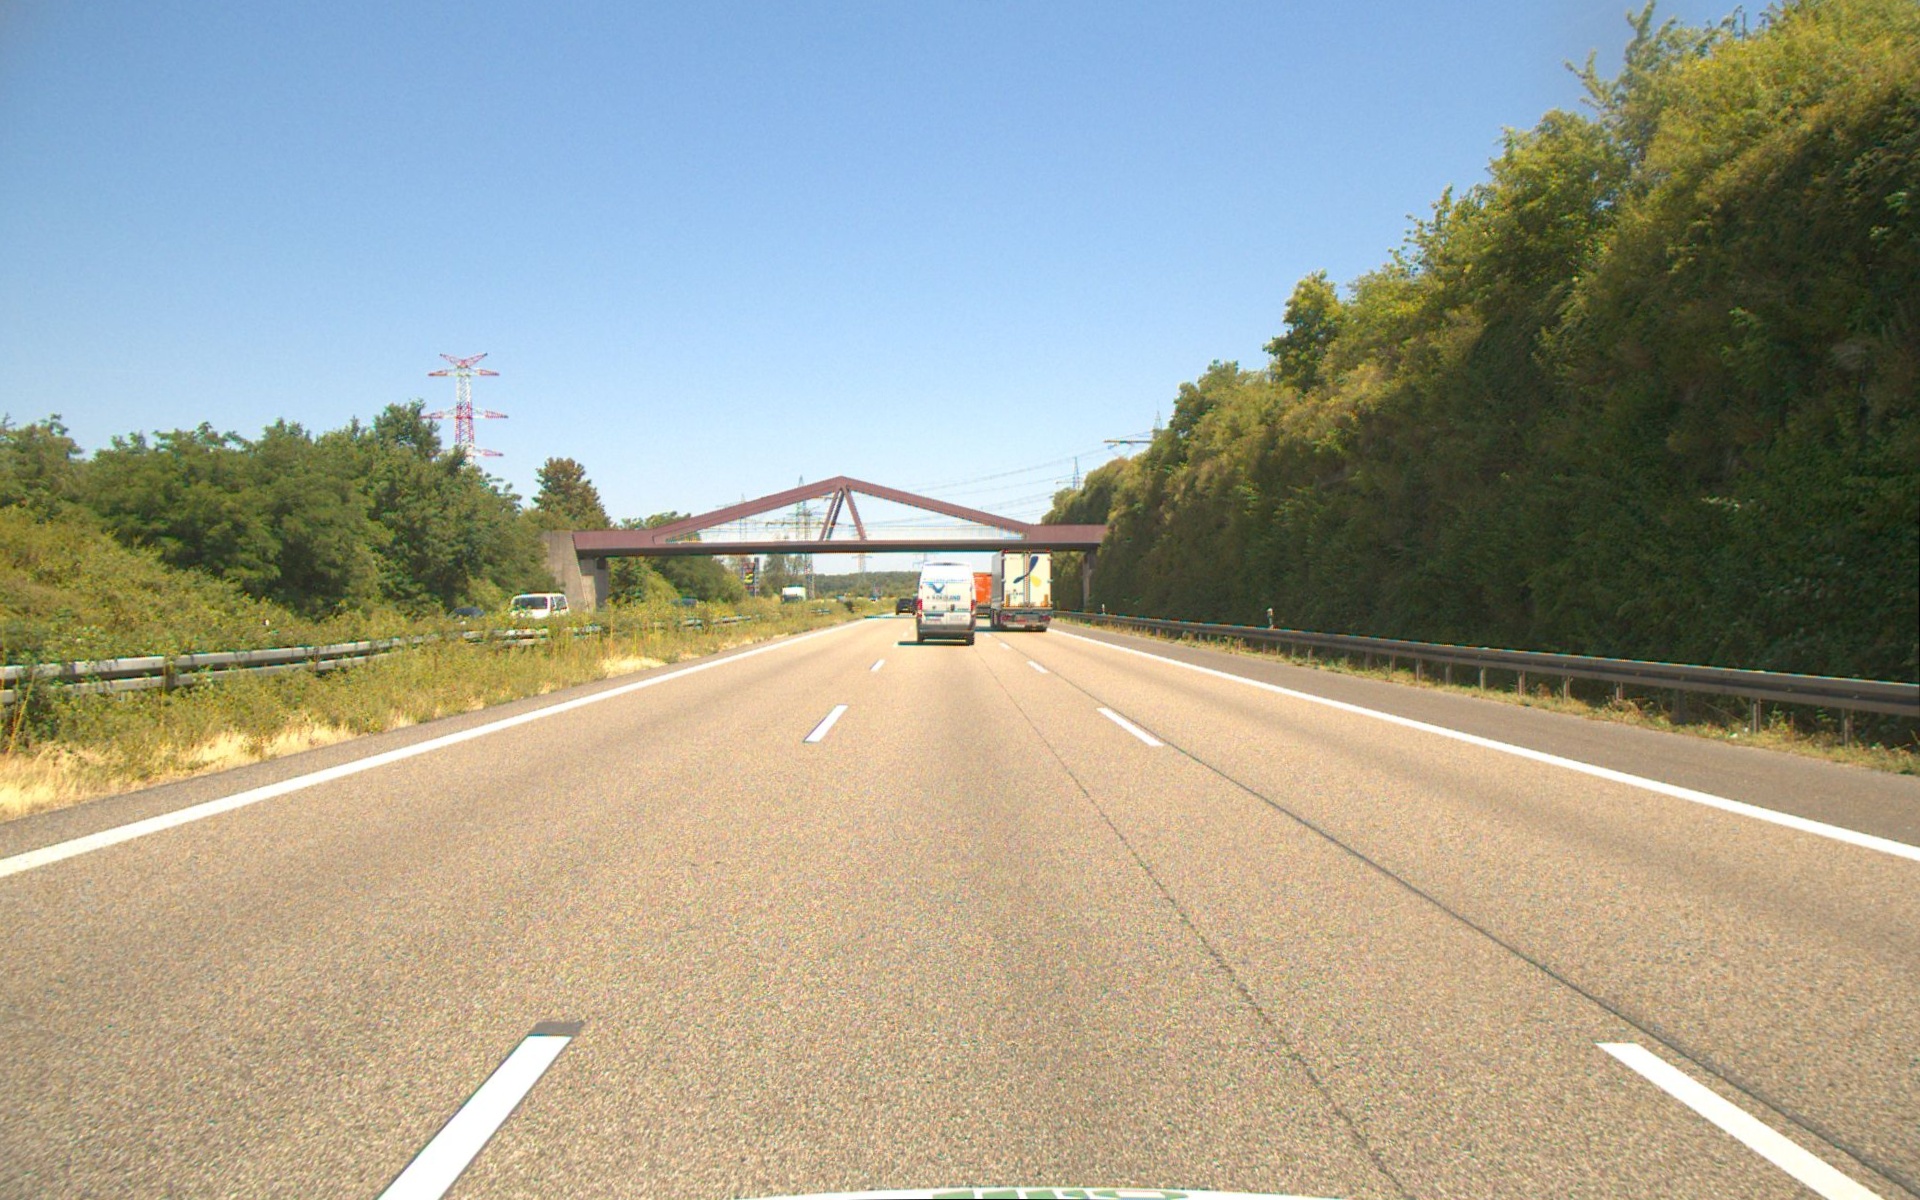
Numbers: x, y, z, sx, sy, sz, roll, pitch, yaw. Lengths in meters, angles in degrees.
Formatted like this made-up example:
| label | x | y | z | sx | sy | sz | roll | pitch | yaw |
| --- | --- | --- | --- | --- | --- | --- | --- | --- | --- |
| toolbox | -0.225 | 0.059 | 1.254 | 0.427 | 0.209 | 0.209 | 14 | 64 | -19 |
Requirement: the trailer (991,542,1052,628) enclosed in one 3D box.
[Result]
| label | x | y | z | sx | sy | sz | roll | pitch | yaw |
| --- | --- | --- | --- | --- | --- | --- | --- | --- | --- |
| trailer | 3.164 | -0.745 | 87.685 | 2.584 | 4.131 | 12.364 | 2 | 0 | 0 |

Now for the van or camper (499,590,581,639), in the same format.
| label | x | y | z | sx | sy | sz | roll | pitch | yaw |
| --- | --- | --- | --- | --- | --- | --- | --- | --- | --- |
| van or camper | -17.590 | 0.596 | 69.537 | 2.082 | 1.889 | 5.310 | -2 | 0 | -1 |

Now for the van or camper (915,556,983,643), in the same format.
| label | x | y | z | sx | sy | sz | roll | pitch | yaw |
| --- | --- | --- | --- | --- | --- | --- | --- | --- | --- |
| van or camper | -0.427 | -0.026 | 57.660 | 2.185 | 2.831 | 5.421 | 2 | 0 | -1 |

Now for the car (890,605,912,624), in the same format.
| label | x | y | z | sx | sy | sz | roll | pitch | yaw |
| --- | --- | --- | --- | --- | --- | --- | --- | --- | --- |
| car | -5.913 | 1.413 | 165.183 | 1.941 | 1.849 | 3.813 | 2 | 0 | 1 |

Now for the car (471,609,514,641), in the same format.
| label | x | y | z | sx | sy | sz | roll | pitch | yaw |
| --- | --- | --- | --- | --- | --- | --- | --- | --- | --- |
| car | -25.103 | 1.310 | 88.893 | 1.346 | 1.641 | 3.363 | 2 | 0 | -1 |

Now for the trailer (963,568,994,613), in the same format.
| label | x | y | z | sx | sy | sz | roll | pitch | yaw |
| --- | --- | --- | --- | --- | --- | --- | --- | --- | --- |
| trailer | 1.692 | -0.892 | 151.920 | 2.584 | 3.965 | 7.067 | 2 | 0 | 0 |
